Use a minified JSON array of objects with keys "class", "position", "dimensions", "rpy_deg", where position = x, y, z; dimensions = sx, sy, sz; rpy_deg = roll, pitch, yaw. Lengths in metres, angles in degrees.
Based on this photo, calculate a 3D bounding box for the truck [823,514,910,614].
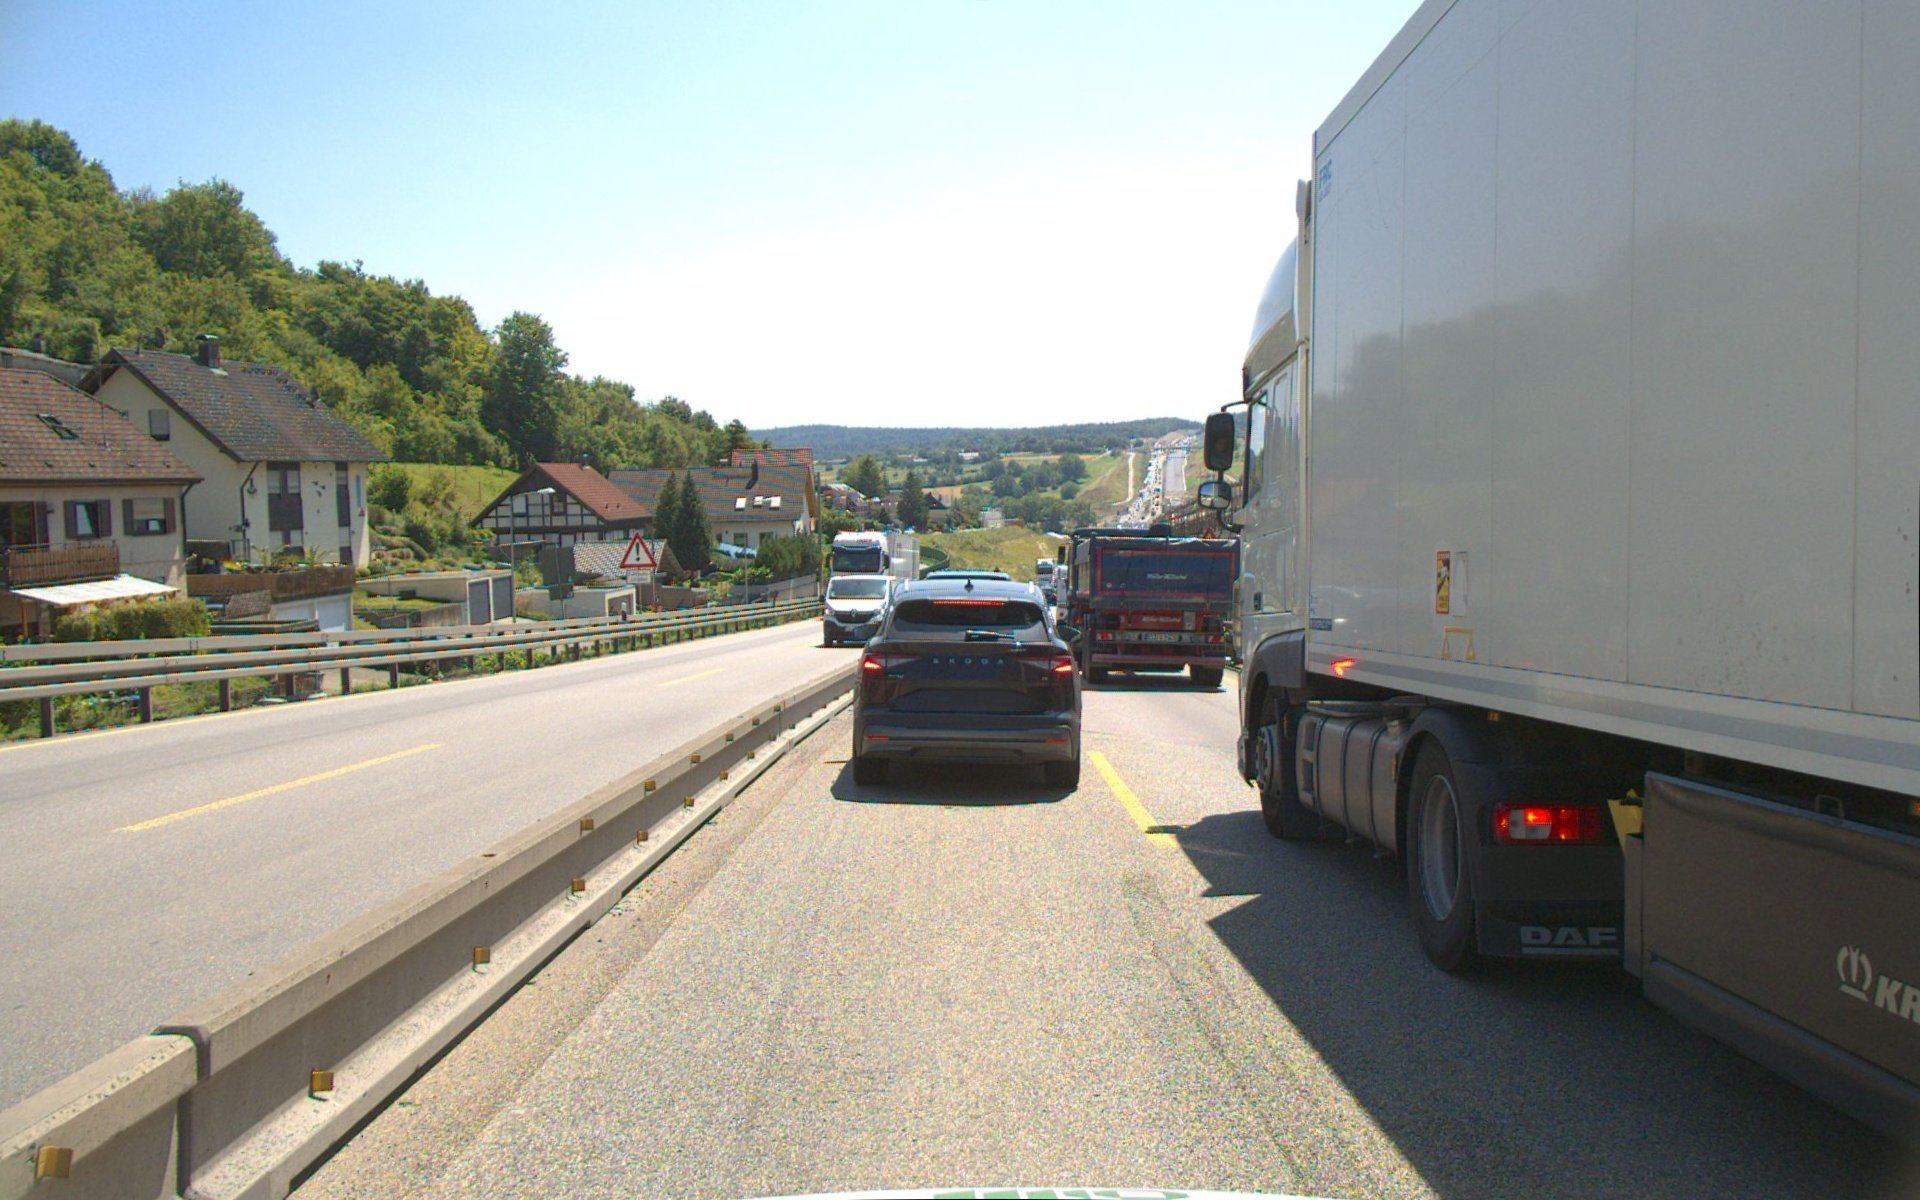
[{"class":"truck","position":[-4.343,-1.585,78.359],"dimensions":[3.234,4.438,8.303],"rpy_deg":[1,0,2]}]

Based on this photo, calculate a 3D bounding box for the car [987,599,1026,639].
[{"class":"car","position":[2.121,0.833,75.272],"dimensions":[1.671,1.650,4.001],"rpy_deg":[1,1,2]}]

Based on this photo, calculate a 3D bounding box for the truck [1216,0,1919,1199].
[{"class":"truck","position":[3.176,-0.569,7.995],"dimensions":[2.462,4.095,8.236],"rpy_deg":[1,0,0]}]

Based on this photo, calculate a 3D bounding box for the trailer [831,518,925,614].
[{"class":"trailer","position":[-3.972,-1.539,84.576],"dimensions":[3.184,4.455,14.064],"rpy_deg":[1,0,3]}]

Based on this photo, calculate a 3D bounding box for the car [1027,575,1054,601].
[{"class":"car","position":[5.777,-0.848,117.886],"dimensions":[1.665,1.758,3.839],"rpy_deg":[1,0,6]}]

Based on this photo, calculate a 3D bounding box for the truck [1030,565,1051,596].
[{"class":"truck","position":[11.539,-2.826,236.331],"dimensions":[2.694,4.358,4.960],"rpy_deg":[1,1,5]}]

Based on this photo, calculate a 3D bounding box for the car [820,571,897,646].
[{"class":"car","position":[-2.888,0.237,47.893],"dimensions":[1.953,2.046,4.857],"rpy_deg":[0,0,0]}]

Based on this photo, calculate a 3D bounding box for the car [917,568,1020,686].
[{"class":"car","position":[0.094,0.420,29.688],"dimensions":[1.672,1.914,3.999],"rpy_deg":[1,1,-2]}]

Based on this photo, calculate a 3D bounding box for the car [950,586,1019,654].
[{"class":"car","position":[0.624,0.509,44.764],"dimensions":[1.672,1.650,3.999],"rpy_deg":[1,1,-2]}]

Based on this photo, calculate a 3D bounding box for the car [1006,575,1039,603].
[{"class":"car","position":[3.800,-0.647,100.034],"dimensions":[1.952,1.613,3.837],"rpy_deg":[1,0,3]}]

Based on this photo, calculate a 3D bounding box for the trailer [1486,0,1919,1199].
[{"class":"trailer","position":[3.237,-0.614,0.220],"dimensions":[2.480,4.199,11.546],"rpy_deg":[1,0,-1]}]

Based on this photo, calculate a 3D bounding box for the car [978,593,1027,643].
[{"class":"car","position":[1.538,0.619,59.583],"dimensions":[1.671,1.650,4.001],"rpy_deg":[1,1,2]}]

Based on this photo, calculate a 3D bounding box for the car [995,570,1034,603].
[{"class":"car","position":[2.870,-0.665,86.159],"dimensions":[1.952,1.613,3.837],"rpy_deg":[1,0,3]}]

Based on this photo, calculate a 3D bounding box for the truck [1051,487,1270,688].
[{"class":"truck","position":[3.638,-0.173,33.490],"dimensions":[3.129,3.247,12.810],"rpy_deg":[1,0,1]}]

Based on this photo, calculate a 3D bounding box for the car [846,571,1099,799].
[{"class":"car","position":[0.035,0.631,13.986],"dimensions":[1.805,1.614,3.906],"rpy_deg":[1,0,-2]}]
